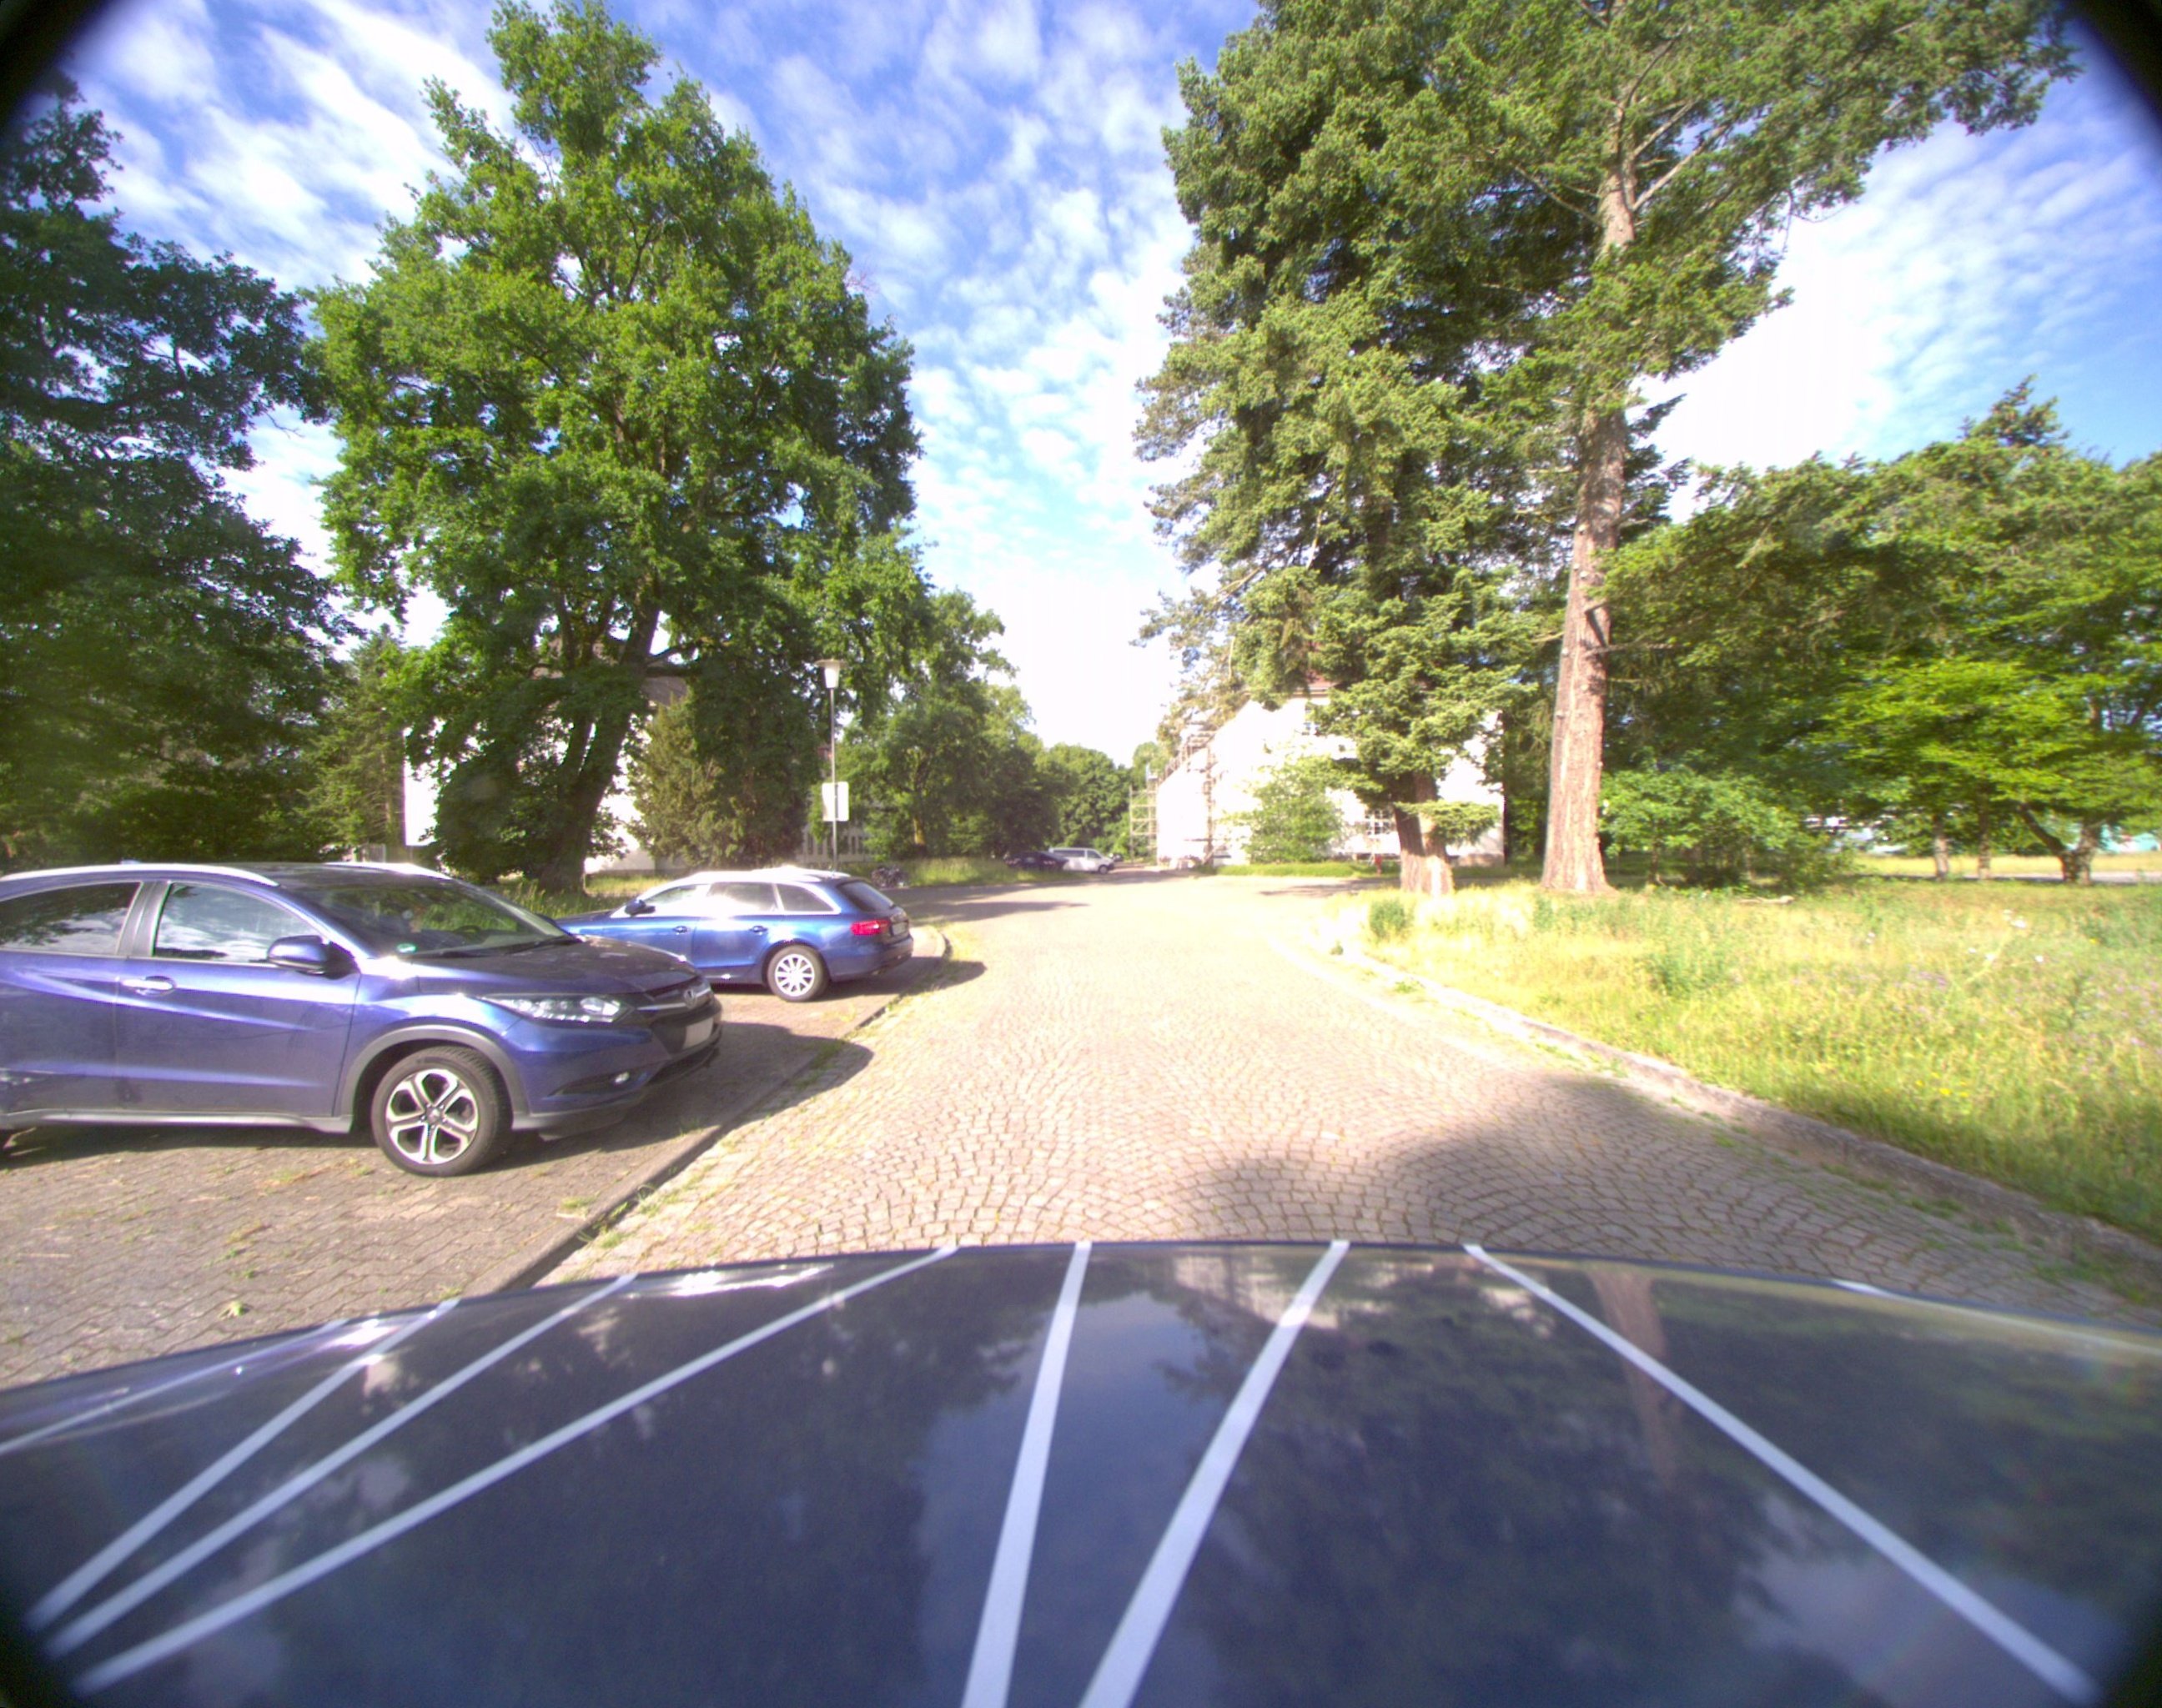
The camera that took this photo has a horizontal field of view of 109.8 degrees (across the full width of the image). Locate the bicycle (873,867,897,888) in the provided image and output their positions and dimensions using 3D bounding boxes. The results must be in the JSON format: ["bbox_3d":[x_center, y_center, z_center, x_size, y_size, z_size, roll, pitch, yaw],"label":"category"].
[{"bbox_3d":[-9.751,1.160,37.852,0.710,1.010,1.257,-1,0,8],"label":"bicycle"}]

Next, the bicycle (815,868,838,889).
[{"bbox_3d":[-12.889,1.249,38.551,0.710,1.010,1.028,-1,1,8],"label":"bicycle"}]

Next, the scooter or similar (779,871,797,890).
[{"bbox_3d":[-14.462,1.290,37.457,0.769,0.924,0.261,-1,1,-5],"label":"scooter or similar"}]

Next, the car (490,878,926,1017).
[{"bbox_3d":[-4.308,1.043,9.194,4.459,1.399,1.714,1,1,3],"label":"car"}]

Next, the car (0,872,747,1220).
[{"bbox_3d":[-4.482,0.952,4.513,4.187,1.582,1.751,-1,1,0],"label":"car"}]

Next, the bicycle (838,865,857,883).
[{"bbox_3d":[-13.134,1.114,42.673,0.712,1.010,1.024,-1,1,-37],"label":"bicycle"}]

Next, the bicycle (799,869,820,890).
[{"bbox_3d":[-13.656,1.253,38.184,0.619,1.010,1.027,-1,1,3],"label":"bicycle"}]

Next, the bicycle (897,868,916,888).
[{"bbox_3d":[-8.786,1.191,38.249,0.747,0.929,1.140,-1,0,-2],"label":"bicycle"}]

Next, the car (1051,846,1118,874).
[{"bbox_3d":[0.280,0.431,58.041,4.936,2.002,2.000,-1,1,1],"label":"car"}]

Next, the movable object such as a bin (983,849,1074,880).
[{"bbox_3d":[-3.098,0.620,45.061,4.931,1.749,2.002,-1,0,15],"label":"movable object such as a bin"}]
